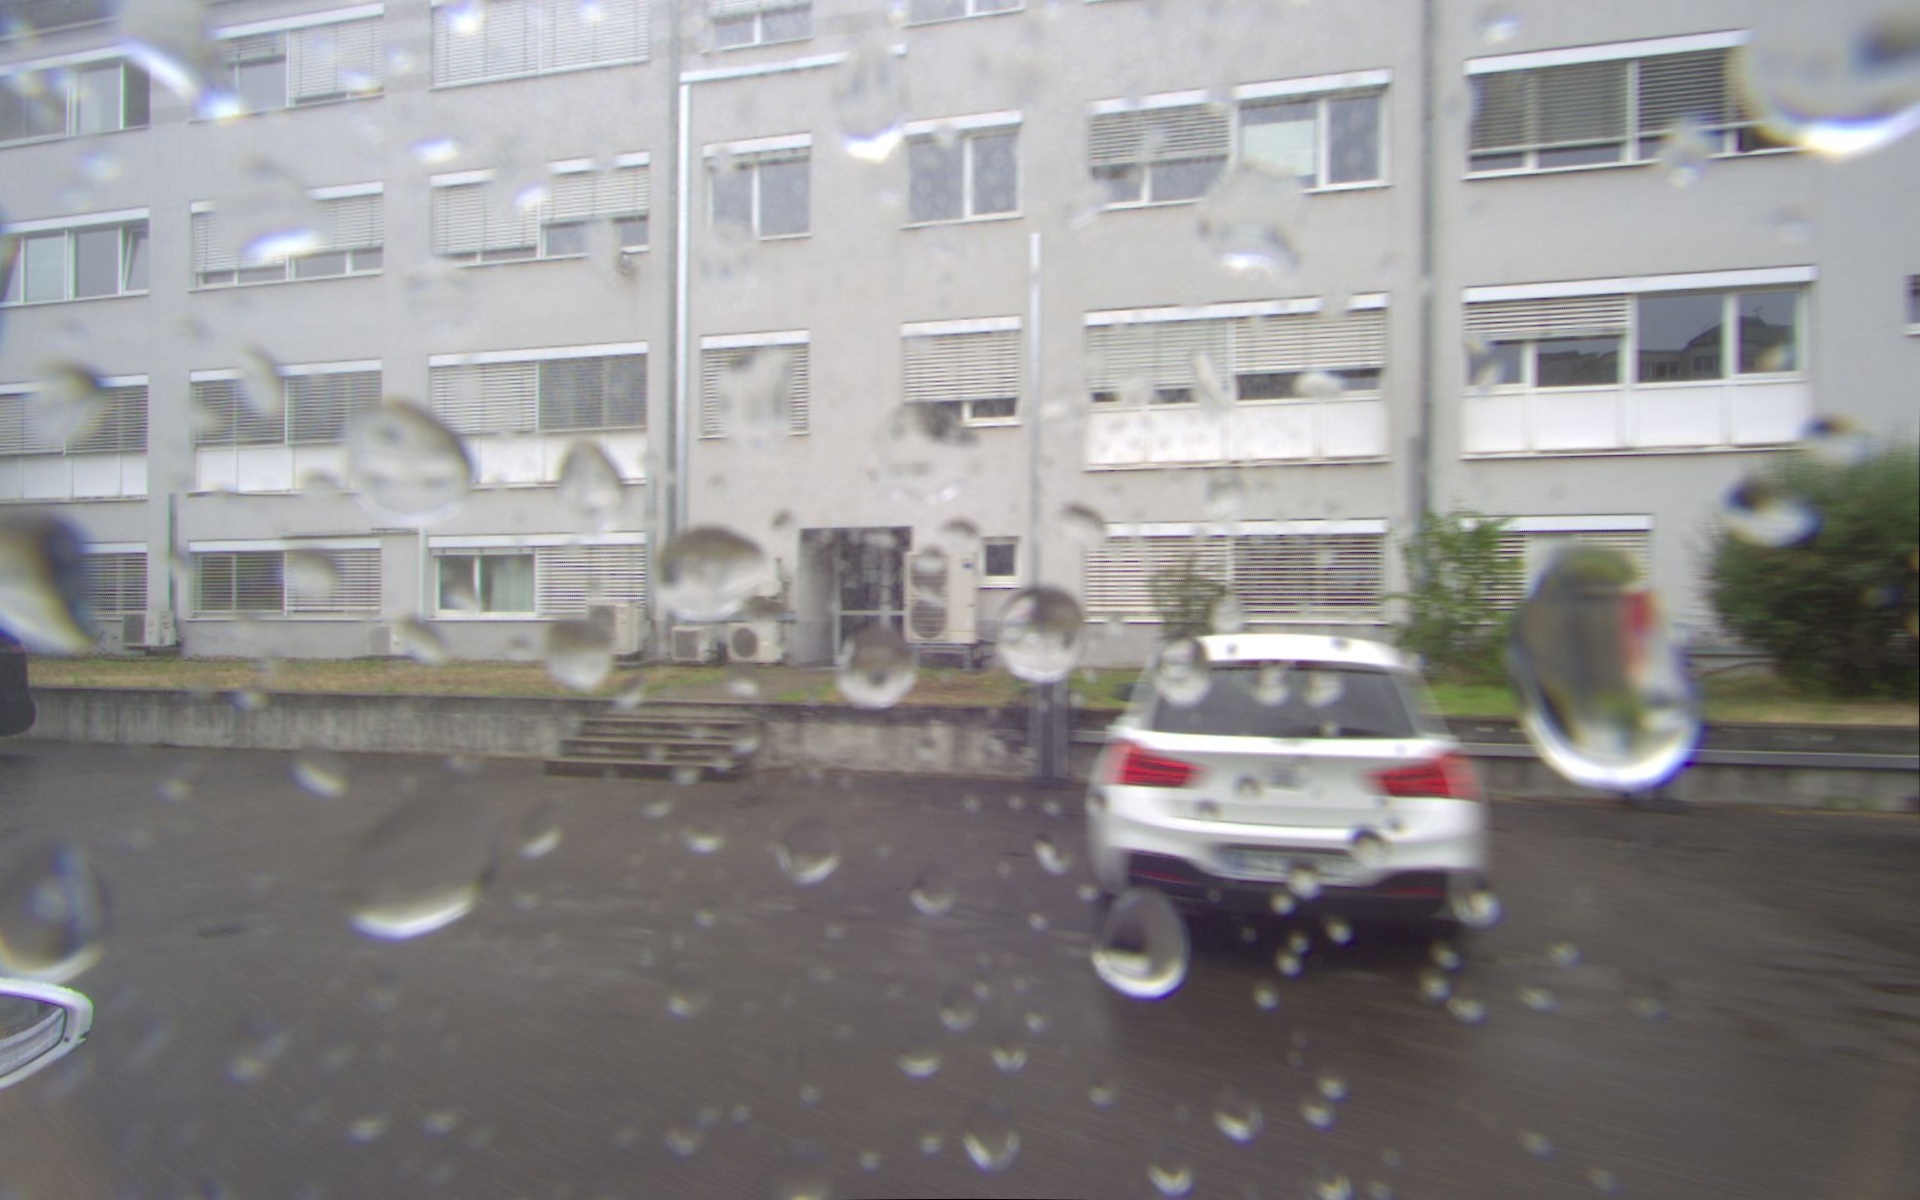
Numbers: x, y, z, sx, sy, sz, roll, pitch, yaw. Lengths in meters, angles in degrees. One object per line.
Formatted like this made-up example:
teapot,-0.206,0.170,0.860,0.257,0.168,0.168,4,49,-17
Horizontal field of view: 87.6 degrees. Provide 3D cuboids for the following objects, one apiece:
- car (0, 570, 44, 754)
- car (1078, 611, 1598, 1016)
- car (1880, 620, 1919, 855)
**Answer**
car,-11.378,0.619,8.870,2.008,1.922,4.521,0,-1,11
car,2.021,0.878,6.122,1.963,1.509,4.218,1,-1,15
car,6.685,0.852,4.532,1.963,1.509,4.218,1,-1,15
